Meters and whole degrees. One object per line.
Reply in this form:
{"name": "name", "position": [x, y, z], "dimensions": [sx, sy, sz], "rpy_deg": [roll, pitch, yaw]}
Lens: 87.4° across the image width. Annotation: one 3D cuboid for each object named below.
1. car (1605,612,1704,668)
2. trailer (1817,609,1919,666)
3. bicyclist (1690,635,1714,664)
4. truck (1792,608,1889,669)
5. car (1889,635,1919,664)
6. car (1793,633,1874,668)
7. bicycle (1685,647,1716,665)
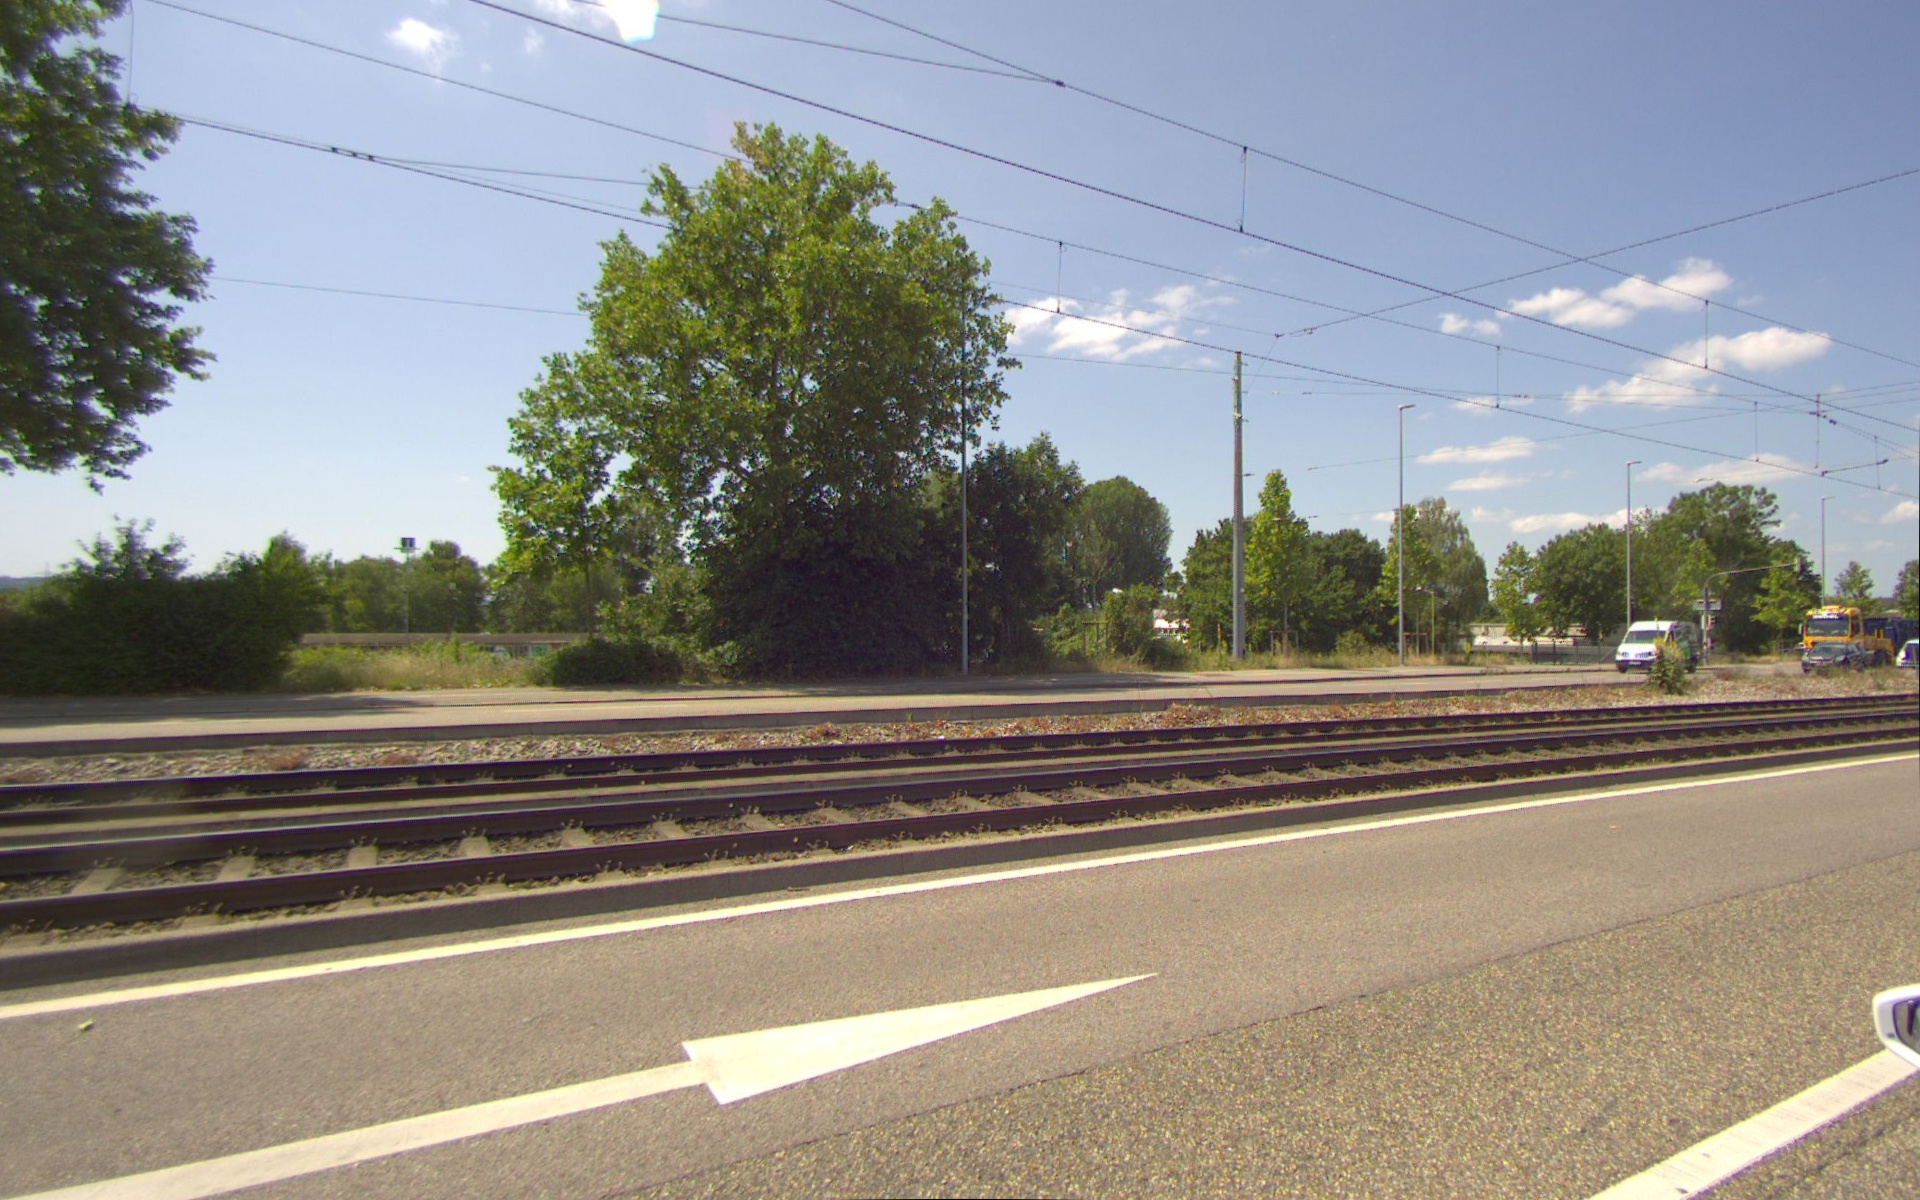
{"name": "car", "position": [34.876, 2.004, 50.389], "dimensions": [6.177, 2.623, 2.227], "rpy_deg": [1, -3, -37]}
{"name": "trailer", "position": [63.008, 2.556, 67.907], "dimensions": [15.693, 3.565, 2.753], "rpy_deg": [2, 0, -31]}
{"name": "bicyclist", "position": [46.514, 3.103, 62.963], "dimensions": [0.337, 1.798, 1.112], "rpy_deg": [1, 0, -34]}
{"name": "truck", "position": [55.791, 2.425, 63.619], "dimensions": [6.365, 3.616, 2.754], "rpy_deg": [2, 0, -31]}
{"name": "car", "position": [59.299, 3.033, 61.829], "dimensions": [4.407, 1.692, 1.814], "rpy_deg": [1, 0, -29]}
{"name": "car", "position": [45.175, 2.588, 51.941], "dimensions": [4.409, 1.692, 1.813], "rpy_deg": [1, 0, -30]}
{"name": "bicycle", "position": [46.479, 3.517, 63.079], "dimensions": [0.481, 1.000, 1.482], "rpy_deg": [2, 0, -33]}
